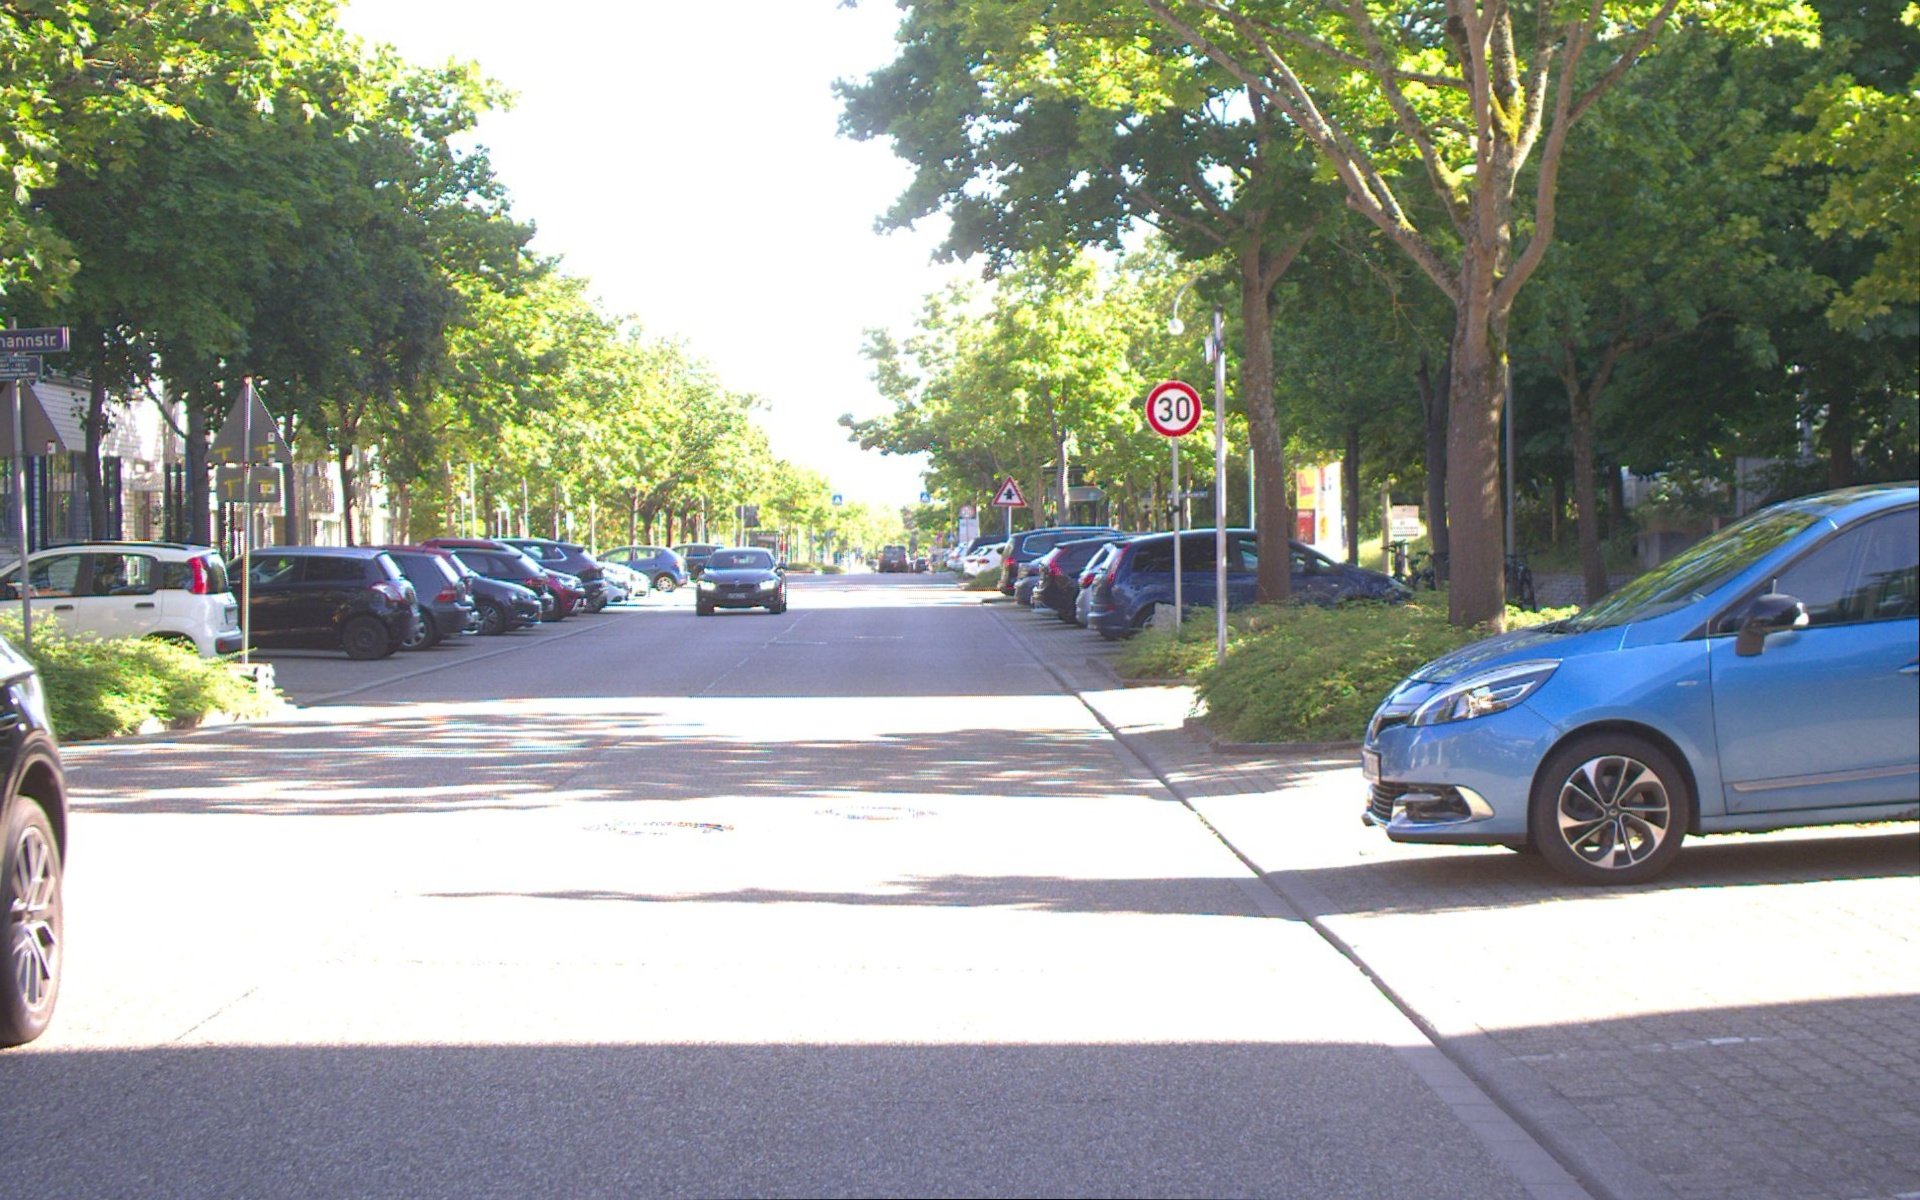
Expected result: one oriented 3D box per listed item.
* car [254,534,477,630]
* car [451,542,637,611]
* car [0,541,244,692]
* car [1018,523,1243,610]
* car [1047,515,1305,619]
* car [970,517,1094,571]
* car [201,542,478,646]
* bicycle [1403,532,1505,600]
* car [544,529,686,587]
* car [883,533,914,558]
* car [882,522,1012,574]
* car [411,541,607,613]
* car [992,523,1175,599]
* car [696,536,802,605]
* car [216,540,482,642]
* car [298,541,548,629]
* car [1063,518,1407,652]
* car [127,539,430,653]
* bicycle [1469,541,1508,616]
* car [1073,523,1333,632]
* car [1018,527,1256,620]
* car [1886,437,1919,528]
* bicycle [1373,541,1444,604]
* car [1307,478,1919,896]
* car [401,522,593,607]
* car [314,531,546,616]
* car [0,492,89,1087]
[{"bbox_3d":[-9.599,-0.306,55.672,3.418,1.458,1.697,1,2,-6],"label":"car"},{"bbox_3d":[-9.099,-0.519,75.452,3.892,1.459,1.858,0,1,-2],"label":"car"},{"bbox_3d":[-9.481,0.190,36.259,3.580,1.544,1.637,0,-2,-3],"label":"car"},{"bbox_3d":[3.197,-0.631,64.767,4.043,1.486,1.550,-2,1,-4],"label":"car"},{"bbox_3d":[3.685,-0.567,58.634,4.249,1.549,1.920,-3,1,4],"label":"car"},{"bbox_3d":[2.436,-1.916,117.143,3.986,1.786,2.000,-1,1,-6],"label":"car"},{"bbox_3d":[-9.095,-0.101,50.573,3.762,1.440,1.631,1,1,0],"label":"car"},{"bbox_3d":[7.913,-0.544,55.117,0.379,1.074,1.786,-1,1,-42],"label":"bicycle"},{"bbox_3d":[-10.280,-1.264,102.581,3.987,1.648,1.860,-1,1,2],"label":"car"},{"bbox_3d":[-4.027,-3.585,225.133,1.933,1.592,4.367,-1,1,-1],"label":"car"},{"bbox_3d":[-0.437,-1.686,110.452,3.986,1.619,2.000,-1,1,-6],"label":"car"},{"bbox_3d":[-9.416,-0.483,72.044,3.892,1.459,1.858,0,1,-2],"label":"car"},{"bbox_3d":[2.743,-0.874,76.707,3.892,1.650,1.858,0,1,-4],"label":"car"},{"bbox_3d":[-4.481,-0.647,73.476,1.813,1.410,4.107,0,1,3],"label":"car"},{"bbox_3d":[-9.419,-0.145,53.232,3.865,1.452,1.755,1,2,-3],"label":"car"},{"bbox_3d":[-9.044,-0.264,58.120,3.986,1.408,1.666,1,1,-2],"label":"car"},{"bbox_3d":[3.590,-0.208,45.379,4.267,1.628,1.858,-1,1,-3],"label":"car"},{"bbox_3d":[-9.060,-0.070,45.920,3.732,1.459,1.677,0,1,-2],"label":"car"},{"bbox_3d":[7.644,-0.325,49.767,0.379,1.043,1.884,-2,1,4],"label":"bicycle"},{"bbox_3d":[3.568,-0.341,50.808,3.635,1.462,1.633,-2,1,-2],"label":"car"},{"bbox_3d":[3.162,-0.490,61.847,4.043,1.585,1.550,-1,1,-8],"label":"car"},{"bbox_3d":[20.911,-2.310,68.936,4.071,1.777,2.000,1,1,-5],"label":"car"},{"bbox_3d":[7.702,-0.479,59.109,0.379,1.074,1.788,-1,1,-22],"label":"bicycle"},{"bbox_3d":[3.907,0.285,15.340,4.405,1.612,1.912,-3,1,-1],"label":"car"},{"bbox_3d":[-9.166,-0.700,68.248,3.541,1.651,1.761,0,0,1],"label":"car"},{"bbox_3d":[-9.347,-0.471,60.726,3.986,1.401,1.606,1,1,-8],"label":"car"},{"bbox_3d":[-3.612,0.567,8.677,1.891,1.678,4.353,-1,1,-3],"label":"car"}]
